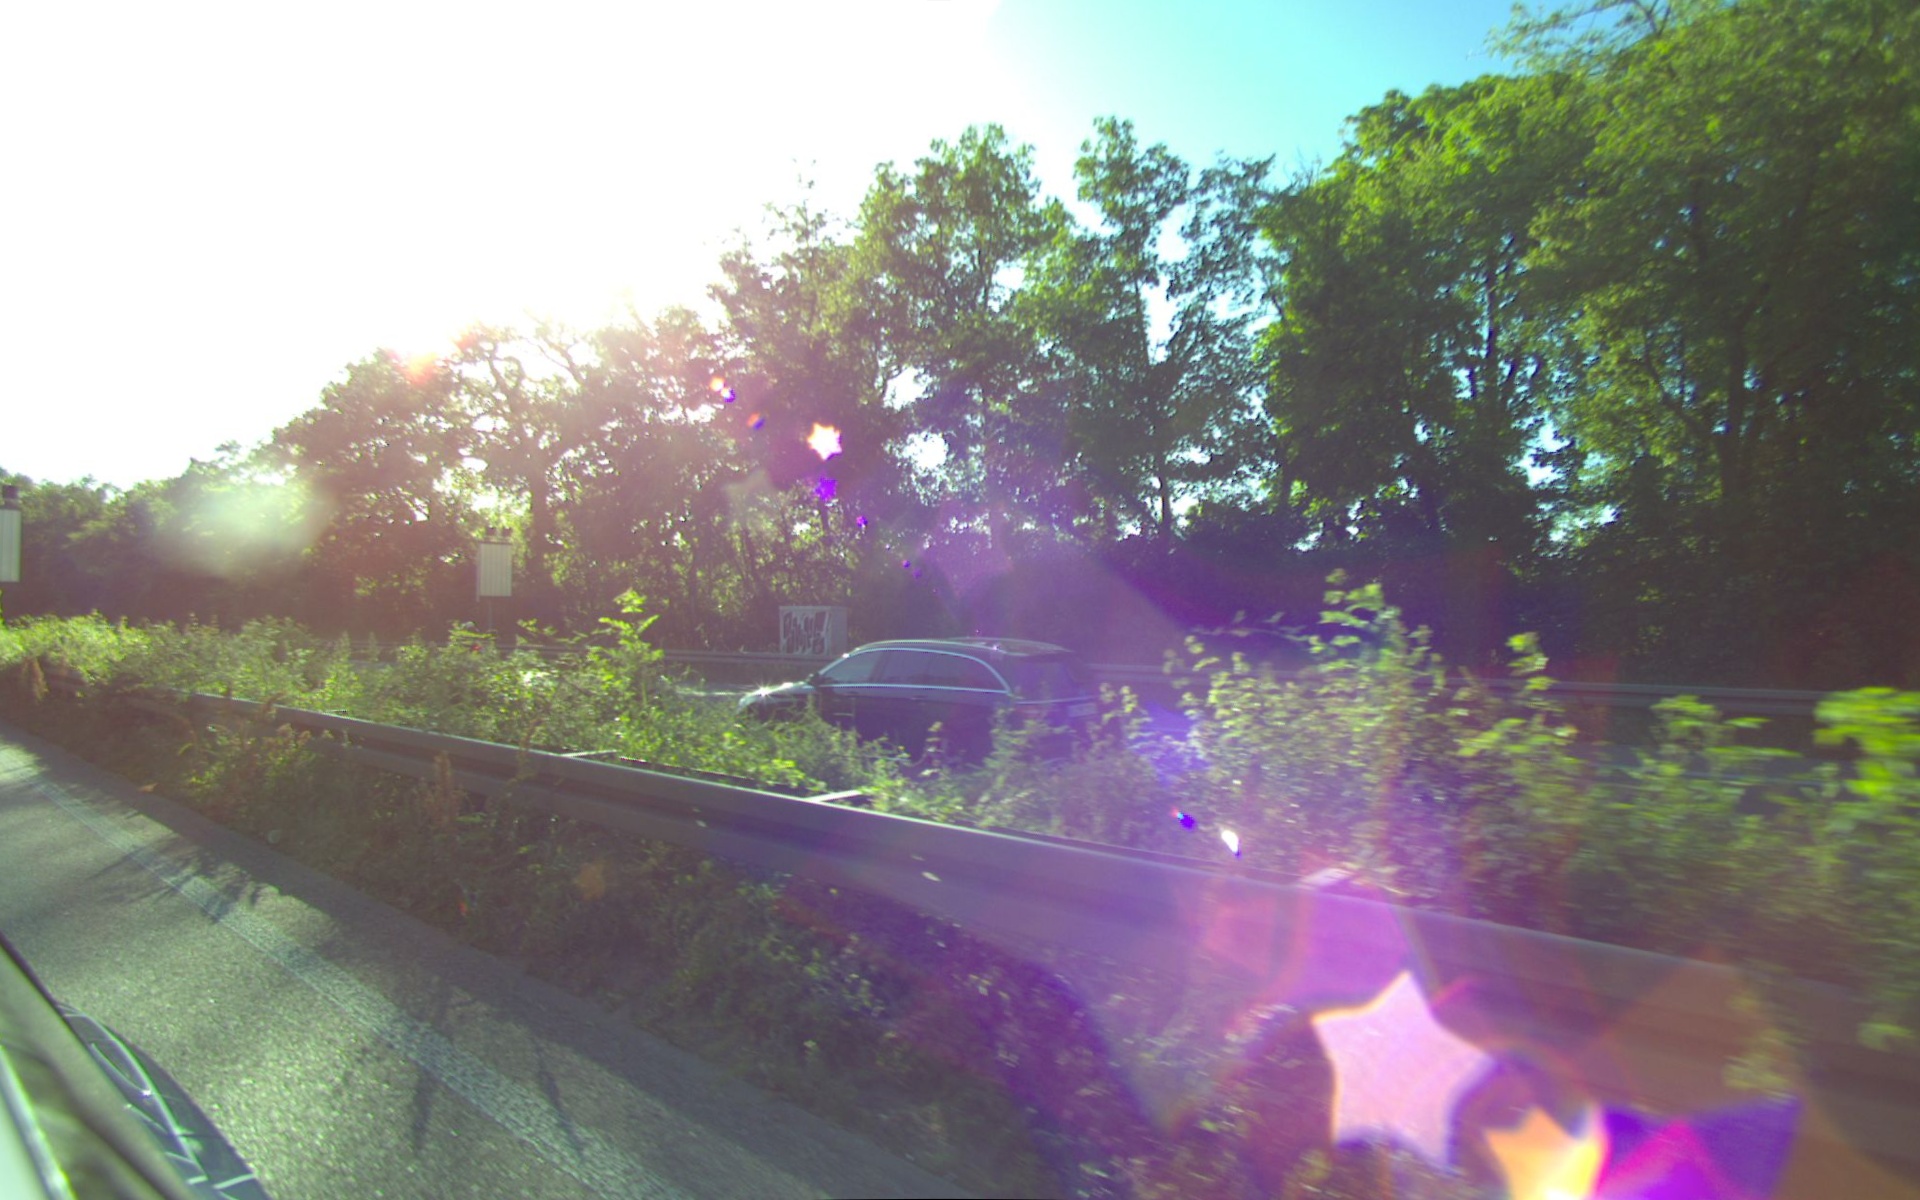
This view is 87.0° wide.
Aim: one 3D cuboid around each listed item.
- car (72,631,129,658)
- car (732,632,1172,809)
[{"bbox_3d":[-47.906,2.452,56.366,4.128,1.435,1.692,-1,-2,39],"label":"car"},{"bbox_3d":[-0.278,1.111,10.973,4.782,1.500,1.832,-1,-2,41],"label":"car"}]
